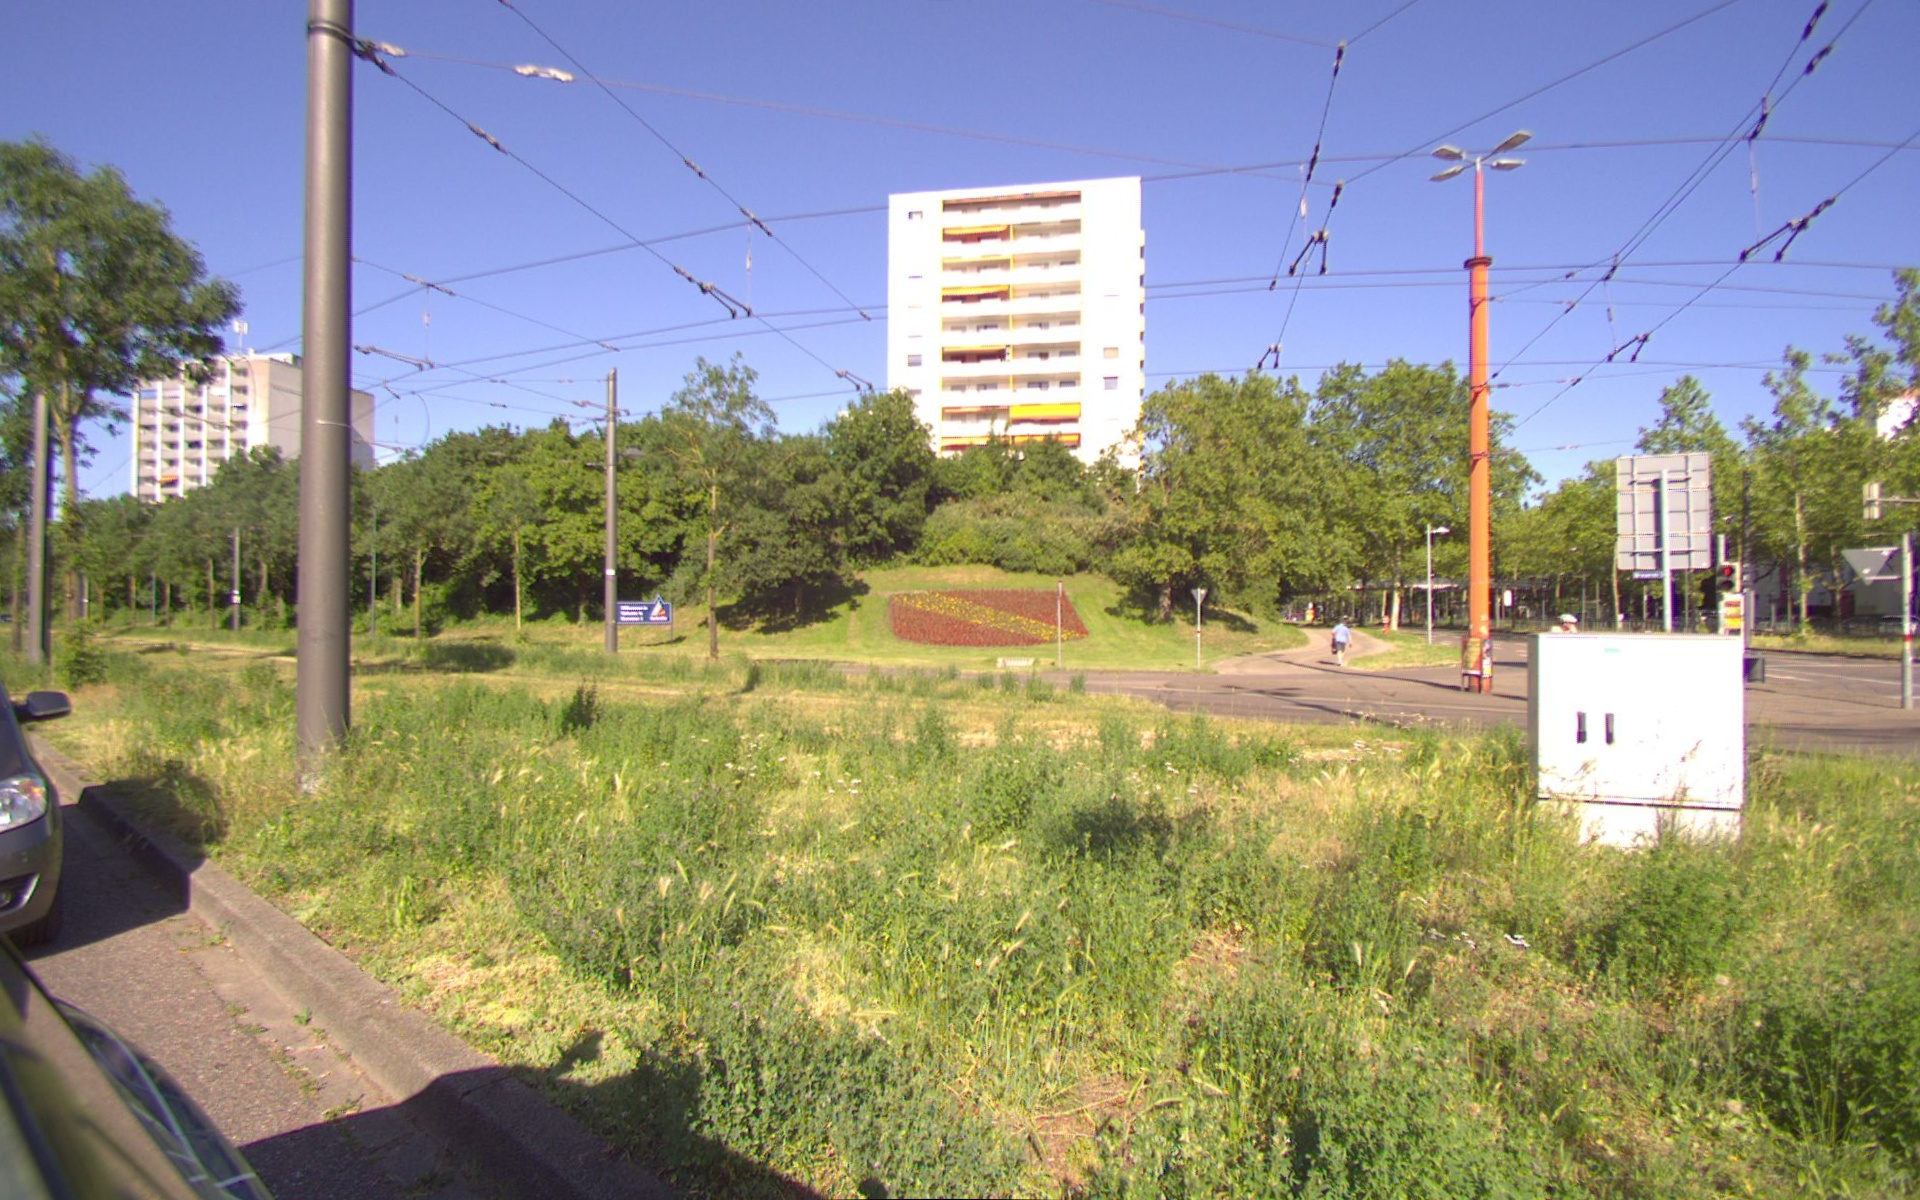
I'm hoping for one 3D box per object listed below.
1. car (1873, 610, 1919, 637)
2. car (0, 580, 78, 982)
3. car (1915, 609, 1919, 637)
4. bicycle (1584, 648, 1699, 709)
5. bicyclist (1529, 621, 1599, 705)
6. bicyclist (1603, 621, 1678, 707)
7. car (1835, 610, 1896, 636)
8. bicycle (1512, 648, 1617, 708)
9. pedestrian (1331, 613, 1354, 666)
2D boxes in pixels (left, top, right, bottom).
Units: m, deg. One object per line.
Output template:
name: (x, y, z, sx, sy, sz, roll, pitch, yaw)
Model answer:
car: (65.245, 1.641, 69.867, 3.931, 1.829, 2.006, 0, -2, -27)
car: (-5.940, 0.753, 5.040, 4.382, 1.619, 1.754, -1, -2, 41)
car: (64.403, 1.503, 65.904, 3.931, 1.829, 2.006, 0, -2, -27)
bicycle: (13.357, 1.519, 19.914, 0.915, 1.095, 1.888, 0, -1, -2)
bicyclist: (12.095, 1.257, 20.299, 0.920, 1.650, 0.741, 0, -1, -1)
bicyclist: (13.353, 1.239, 19.880, 0.920, 1.650, 0.741, 0, -1, -1)
car: (66.013, 1.697, 73.763, 3.931, 1.829, 2.006, 0, -2, -27)
bicycle: (12.091, 1.534, 20.316, 0.915, 1.095, 1.888, 0, -1, -2)
pedestrian: (14.232, 1.452, 37.664, 0.729, 1.949, 0.726, -1, -2, 24)
